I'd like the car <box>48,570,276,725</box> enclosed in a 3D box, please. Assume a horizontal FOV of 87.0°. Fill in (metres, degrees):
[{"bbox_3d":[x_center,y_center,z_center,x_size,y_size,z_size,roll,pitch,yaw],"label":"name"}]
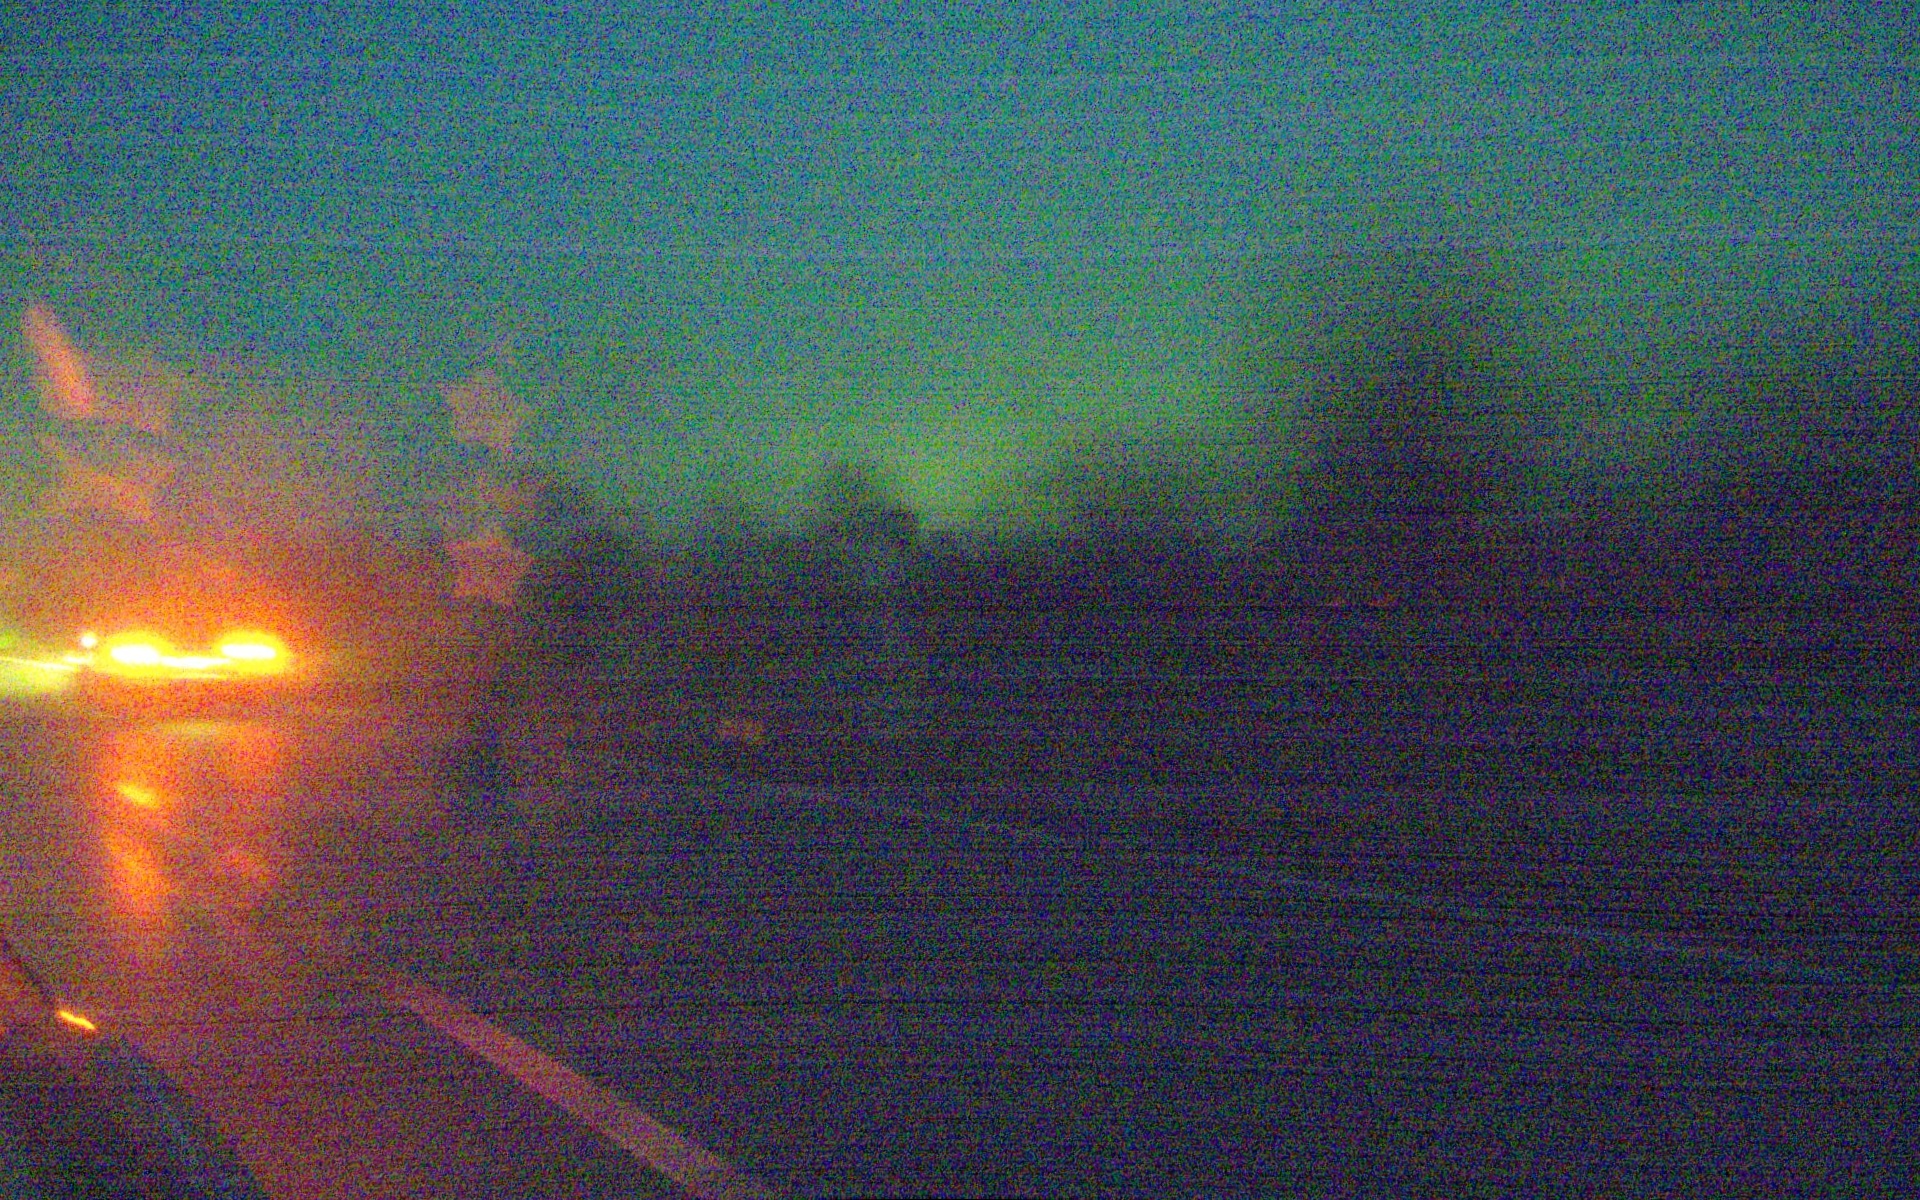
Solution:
[{"bbox_3d":[-12.272,0.686,15.476,4.273,2.029,1.973,-1,-2,41],"label":"car"}]
